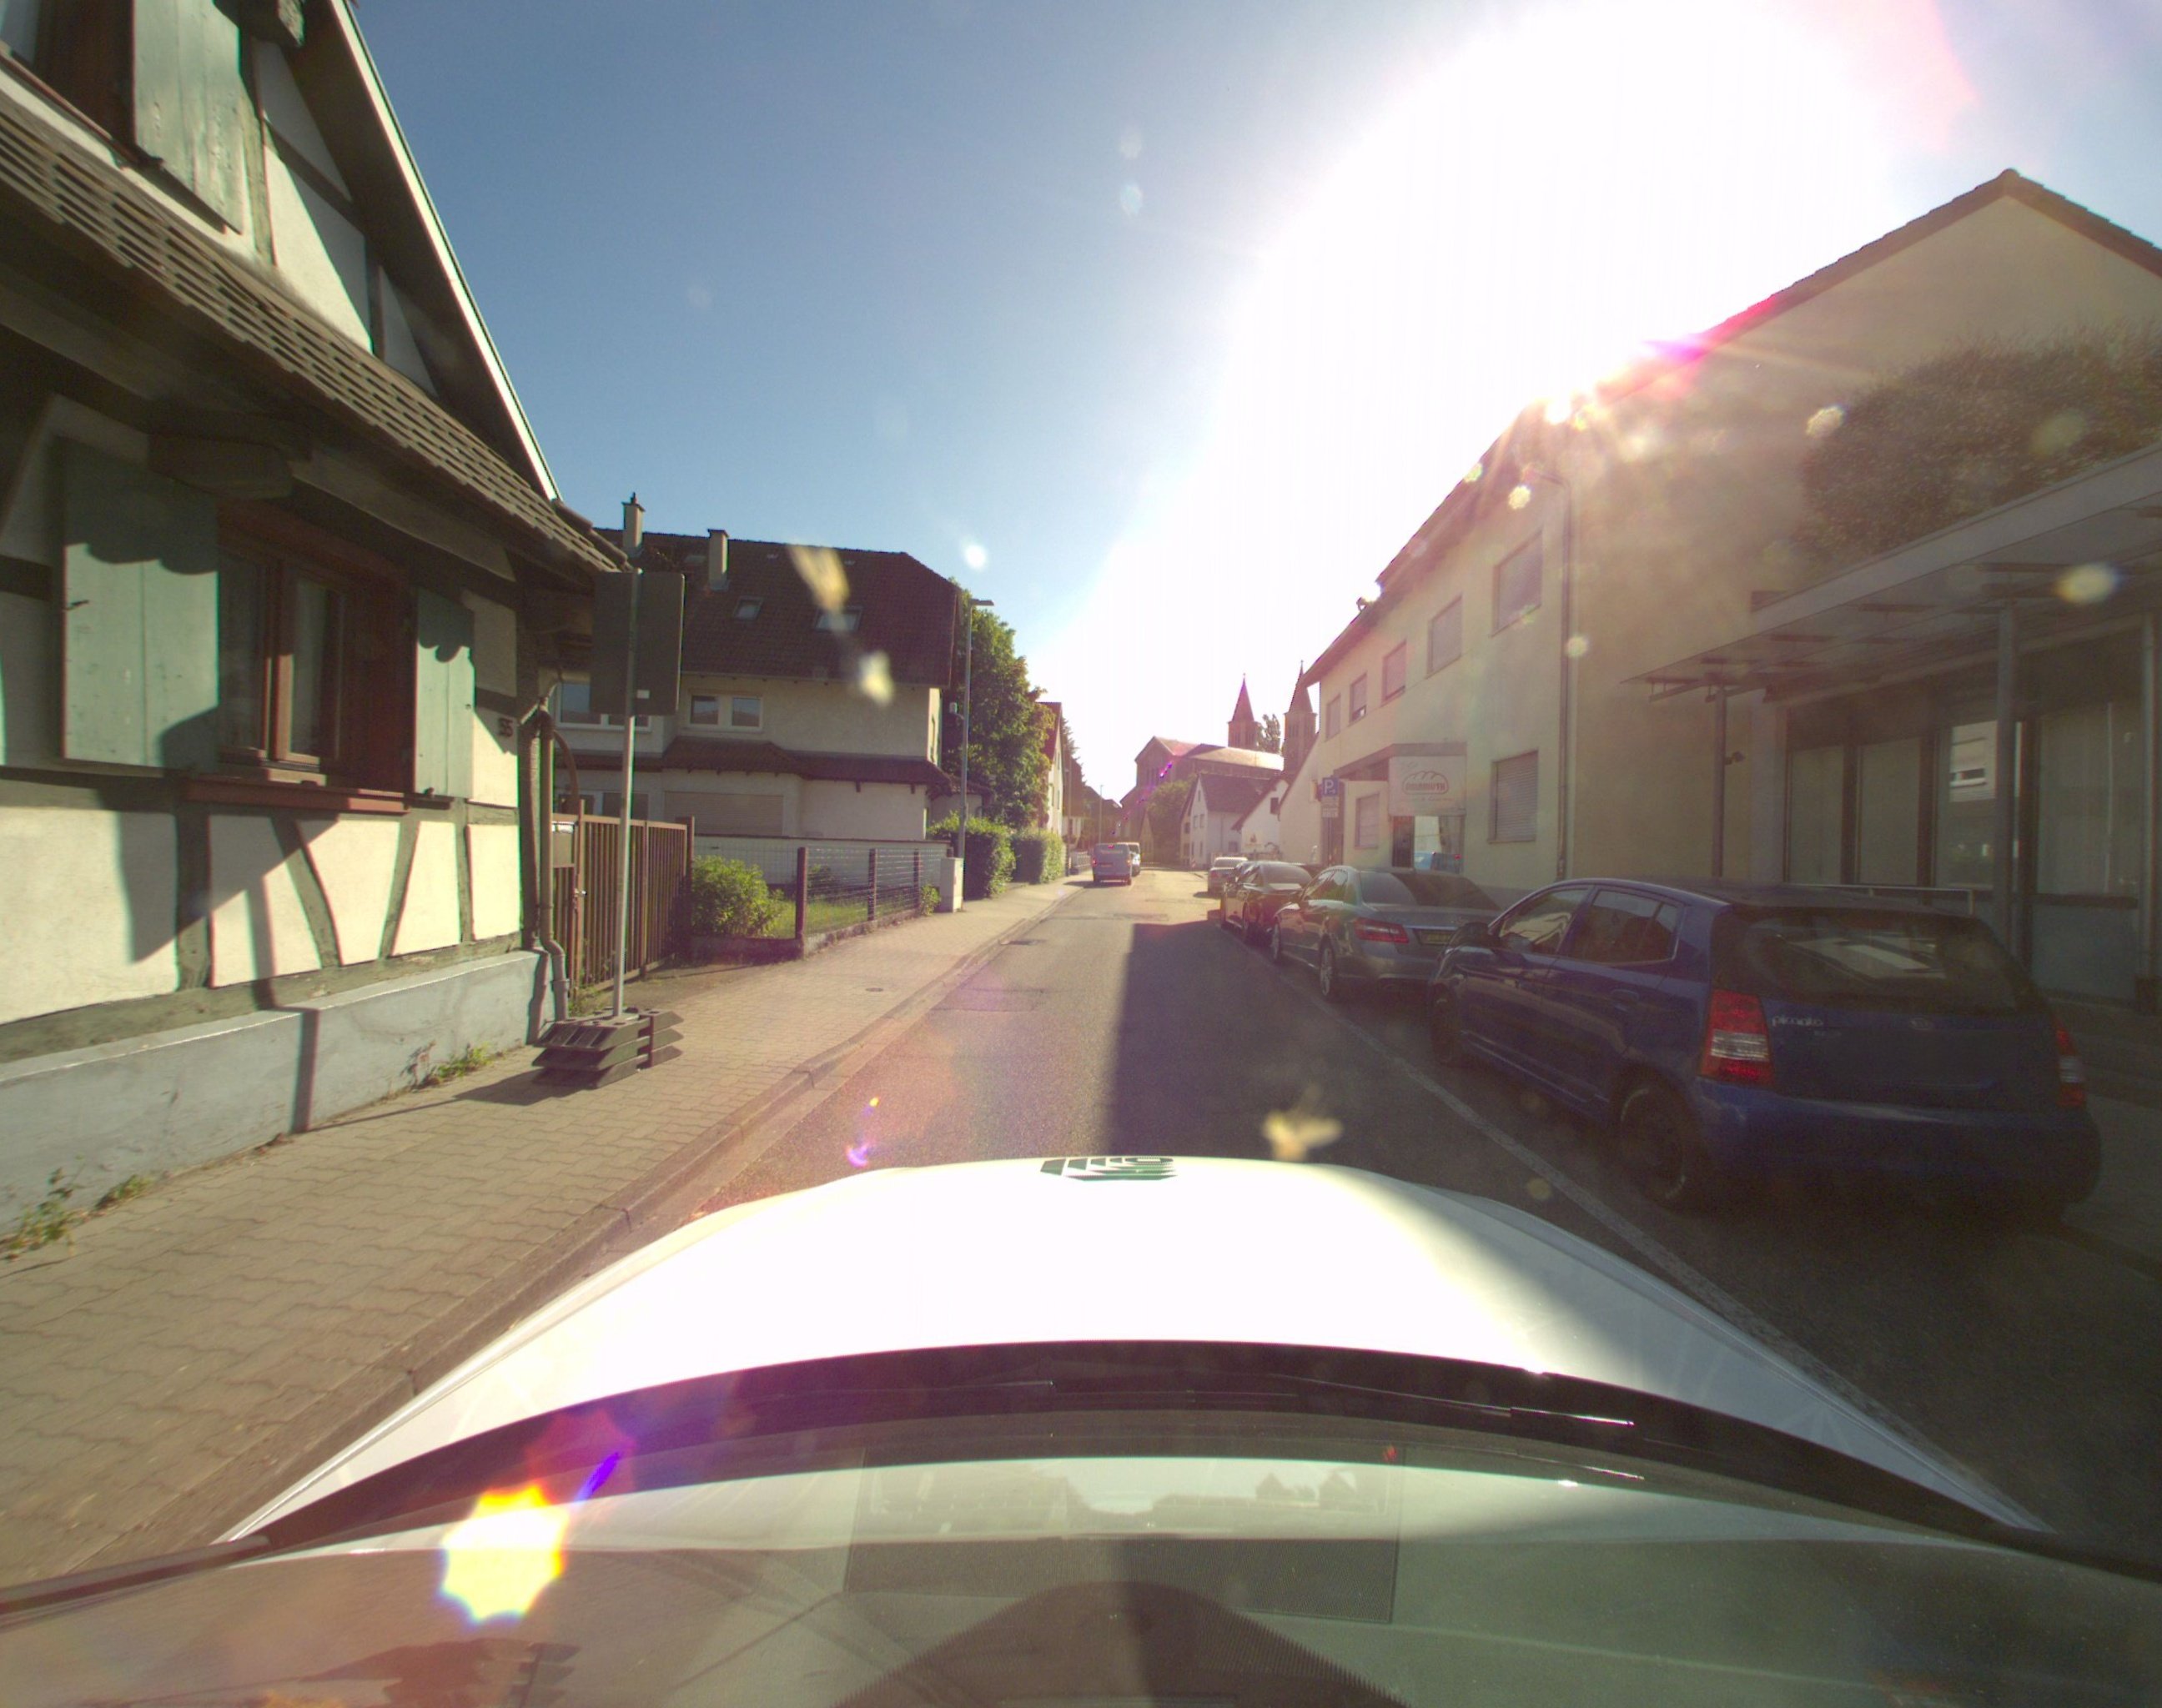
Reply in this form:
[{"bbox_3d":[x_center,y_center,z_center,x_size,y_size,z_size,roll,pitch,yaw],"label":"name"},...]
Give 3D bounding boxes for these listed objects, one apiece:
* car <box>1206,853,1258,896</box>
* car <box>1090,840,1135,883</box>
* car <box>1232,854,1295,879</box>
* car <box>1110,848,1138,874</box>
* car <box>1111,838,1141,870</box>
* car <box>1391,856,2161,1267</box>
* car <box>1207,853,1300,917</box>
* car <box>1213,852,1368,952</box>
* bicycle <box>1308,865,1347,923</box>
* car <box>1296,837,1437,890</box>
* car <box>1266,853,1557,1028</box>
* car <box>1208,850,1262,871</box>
[{"bbox_3d":[5.870,0.737,32.039,1.801,1.475,4.671,2,0,9],"label":"car"},{"bbox_3d":[1.580,0.335,39.137,1.893,1.917,5.077,0,0,5],"label":"car"},{"bbox_3d":[12.981,0.876,58.025,4.054,1.688,1.897,0,1,-24],"label":"car"},{"bbox_3d":[2.793,0.443,52.329,1.707,1.598,3.930,0,0,4],"label":"car"},{"bbox_3d":[3.586,-0.014,63.864,2.187,2.390,6.072,0,0,5],"label":"car"},{"bbox_3d":[3.487,0.813,5.134,1.718,1.475,3.878,3,0,3],"label":"car"},{"bbox_3d":[4.604,0.755,22.410,1.800,1.475,4.849,3,0,4],"label":"car"},{"bbox_3d":[3.698,0.766,15.267,1.801,1.475,4.847,3,0,3],"label":"car"},{"bbox_3d":[5.310,0.842,17.632,0.505,1.157,1.510,1,0,5],"label":"bicycle"},{"bbox_3d":[10.873,0.340,31.235,4.751,1.886,1.907,-1,0,-3],"label":"car"},{"bbox_3d":[3.513,0.783,9.657,1.801,1.475,4.448,3,0,3],"label":"car"},{"bbox_3d":[11.690,0.480,61.699,3.885,1.492,1.854,1,0,13],"label":"car"}]
